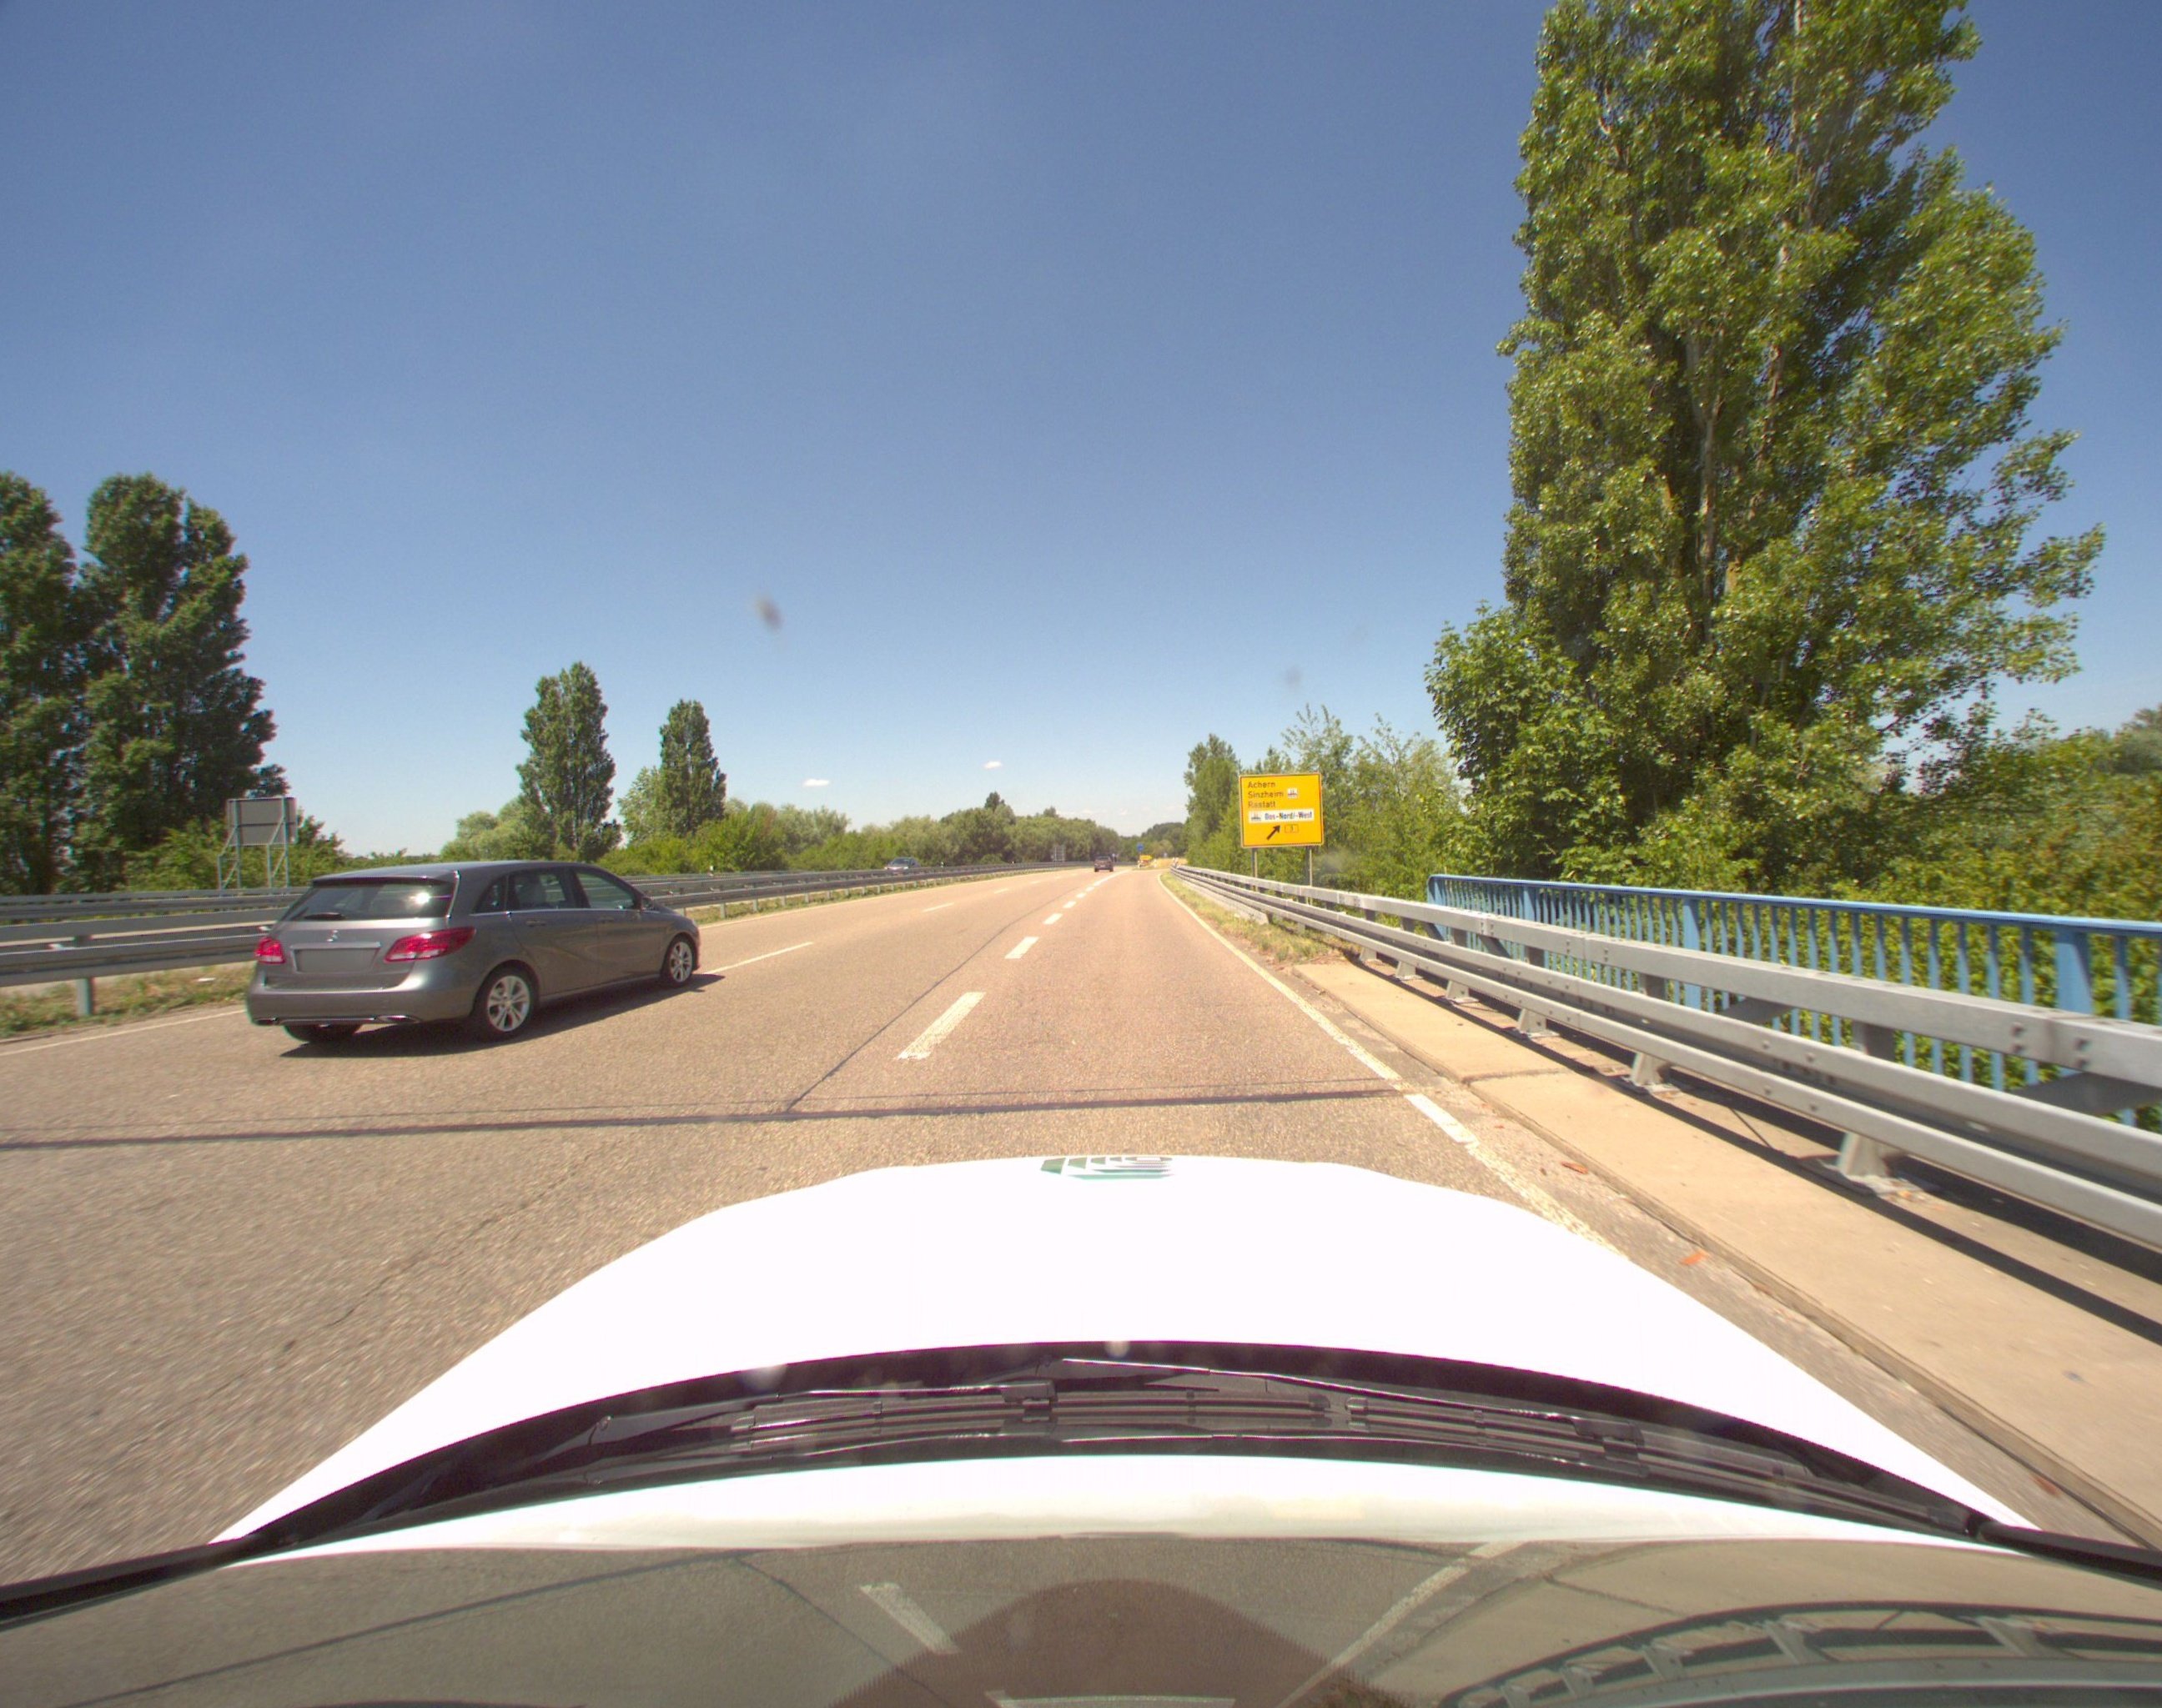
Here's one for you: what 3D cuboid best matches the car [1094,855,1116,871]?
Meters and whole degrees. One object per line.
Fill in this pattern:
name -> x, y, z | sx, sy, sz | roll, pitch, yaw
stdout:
car -> 2.482, 0.929, 84.175 | 1.831, 1.530, 4.479 | 0, 1, 7

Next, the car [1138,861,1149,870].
car -> 11.770, 2.180, 153.892 | 1.831, 1.464, 4.008 | 0, 1, 7

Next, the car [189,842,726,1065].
car -> -5.696, 0.751, 8.392 | 1.785, 1.667, 4.559 | -1, 0, 4

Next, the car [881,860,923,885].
car -> -12.496, 1.255, 57.129 | 1.817, 1.647, 4.192 | -1, -1, 3
